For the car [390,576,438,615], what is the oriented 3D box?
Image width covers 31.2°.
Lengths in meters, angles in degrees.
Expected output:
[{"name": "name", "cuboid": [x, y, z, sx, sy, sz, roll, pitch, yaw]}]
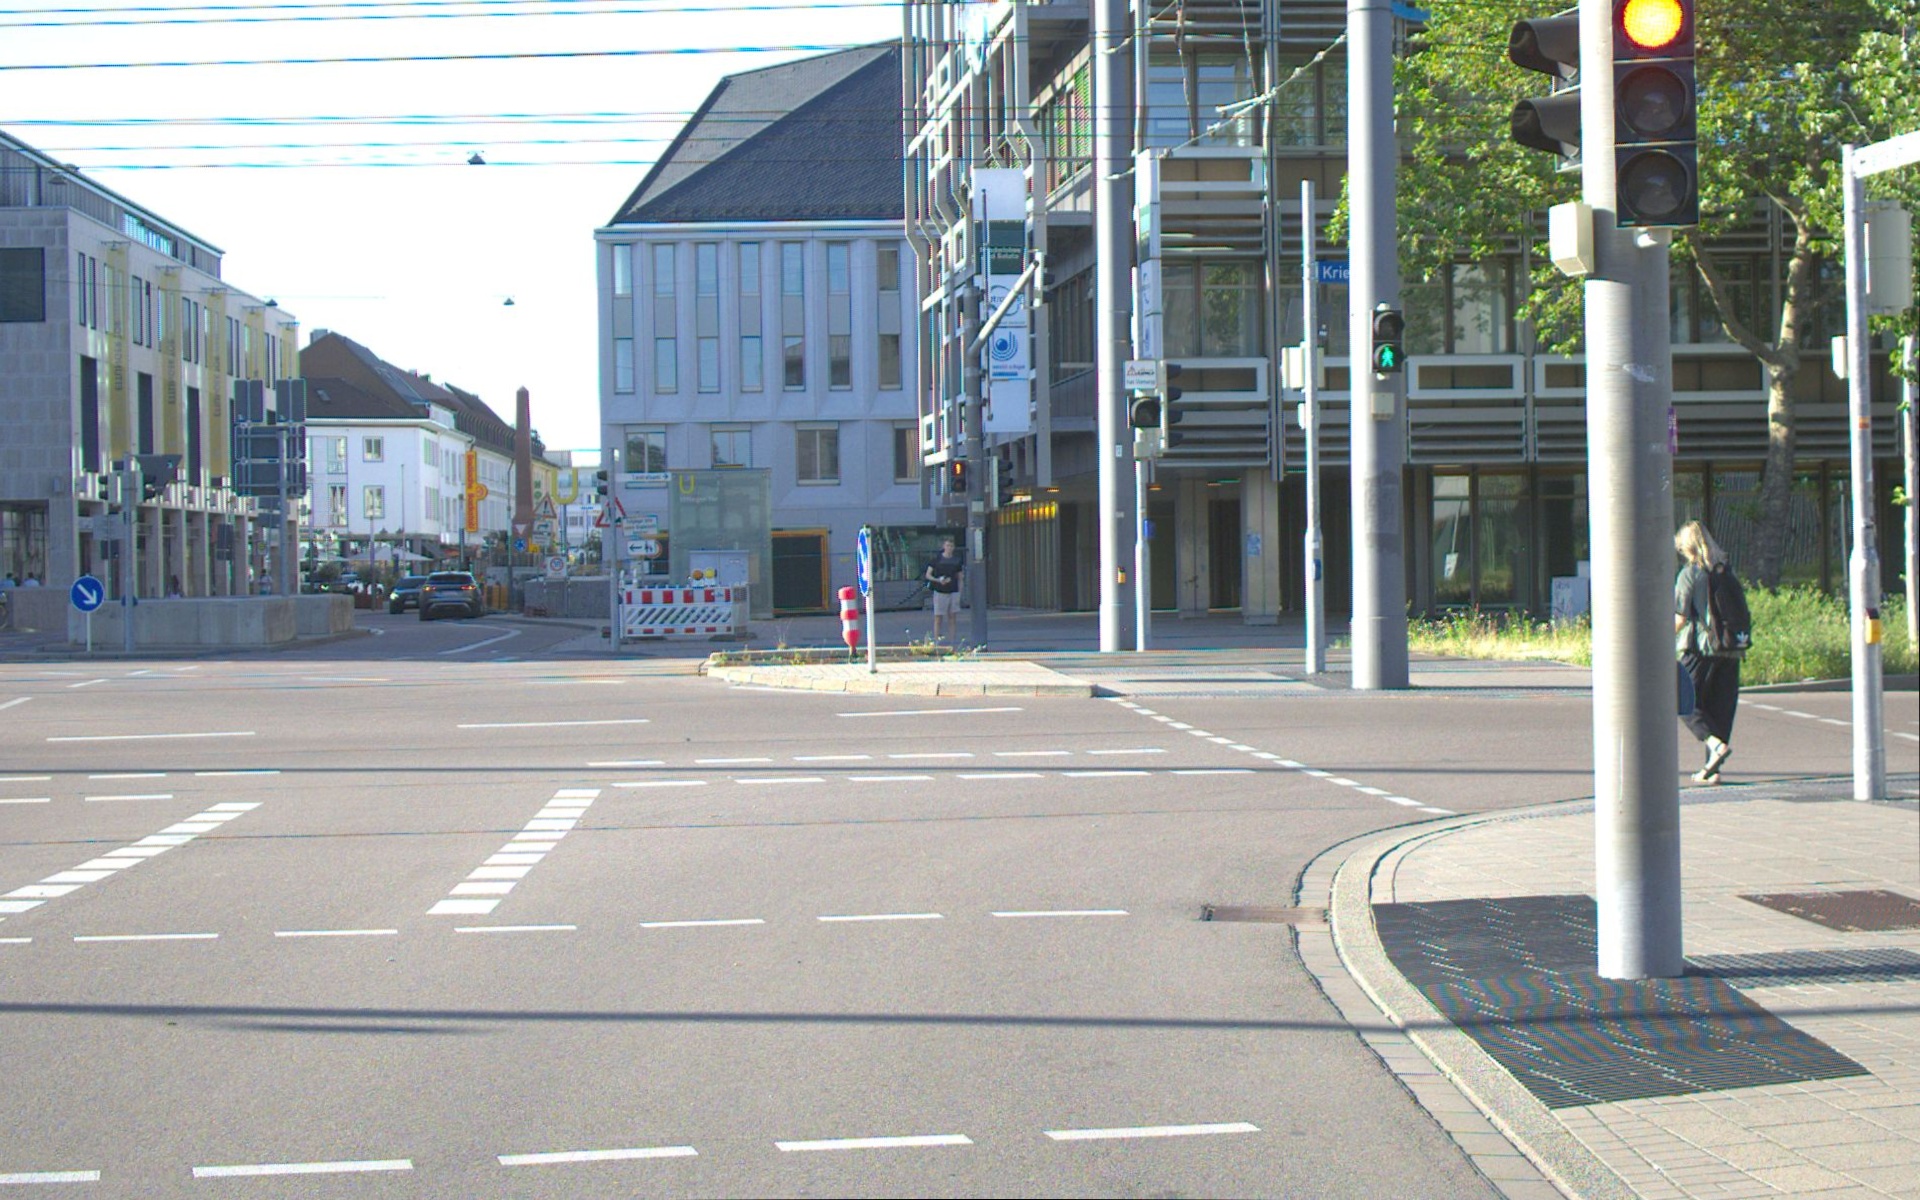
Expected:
[{"name": "car", "cuboid": [-24.327, -0.204, 153.281, 1.797, 1.652, 4.001, 1, 1, -4]}]

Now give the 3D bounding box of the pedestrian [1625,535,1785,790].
[{"name": "pedestrian", "cuboid": [4.440, 0.363, 20.521, 0.788, 1.487, 0.644, 1, 0, -1]}]

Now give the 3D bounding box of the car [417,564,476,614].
[{"name": "car", "cuboid": [-16.148, -0.370, 108.216, 1.737, 1.525, 3.856, 1, 1, -7]}]

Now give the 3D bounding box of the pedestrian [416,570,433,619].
[{"name": "pedestrian", "cuboid": [-18.228, -0.188, 116.989, 0.521, 1.674, 0.583, 1, 1, -7]}]

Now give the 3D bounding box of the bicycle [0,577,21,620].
[{"name": "bicycle", "cuboid": [-27.591, -0.038, 97.901, 0.511, 1.202, 1.808, 1, 1, 29]}]

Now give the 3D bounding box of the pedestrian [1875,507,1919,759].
[{"name": "pedestrian", "cuboid": [6.727, 0.223, 22.813, 0.878, 1.659, 0.965, 1, 0, -16]}]

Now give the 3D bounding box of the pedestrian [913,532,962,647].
[{"name": "pedestrian", "cuboid": [-0.370, -0.178, 57.322, 0.788, 1.883, 0.644, 1, 0, -1]}]
